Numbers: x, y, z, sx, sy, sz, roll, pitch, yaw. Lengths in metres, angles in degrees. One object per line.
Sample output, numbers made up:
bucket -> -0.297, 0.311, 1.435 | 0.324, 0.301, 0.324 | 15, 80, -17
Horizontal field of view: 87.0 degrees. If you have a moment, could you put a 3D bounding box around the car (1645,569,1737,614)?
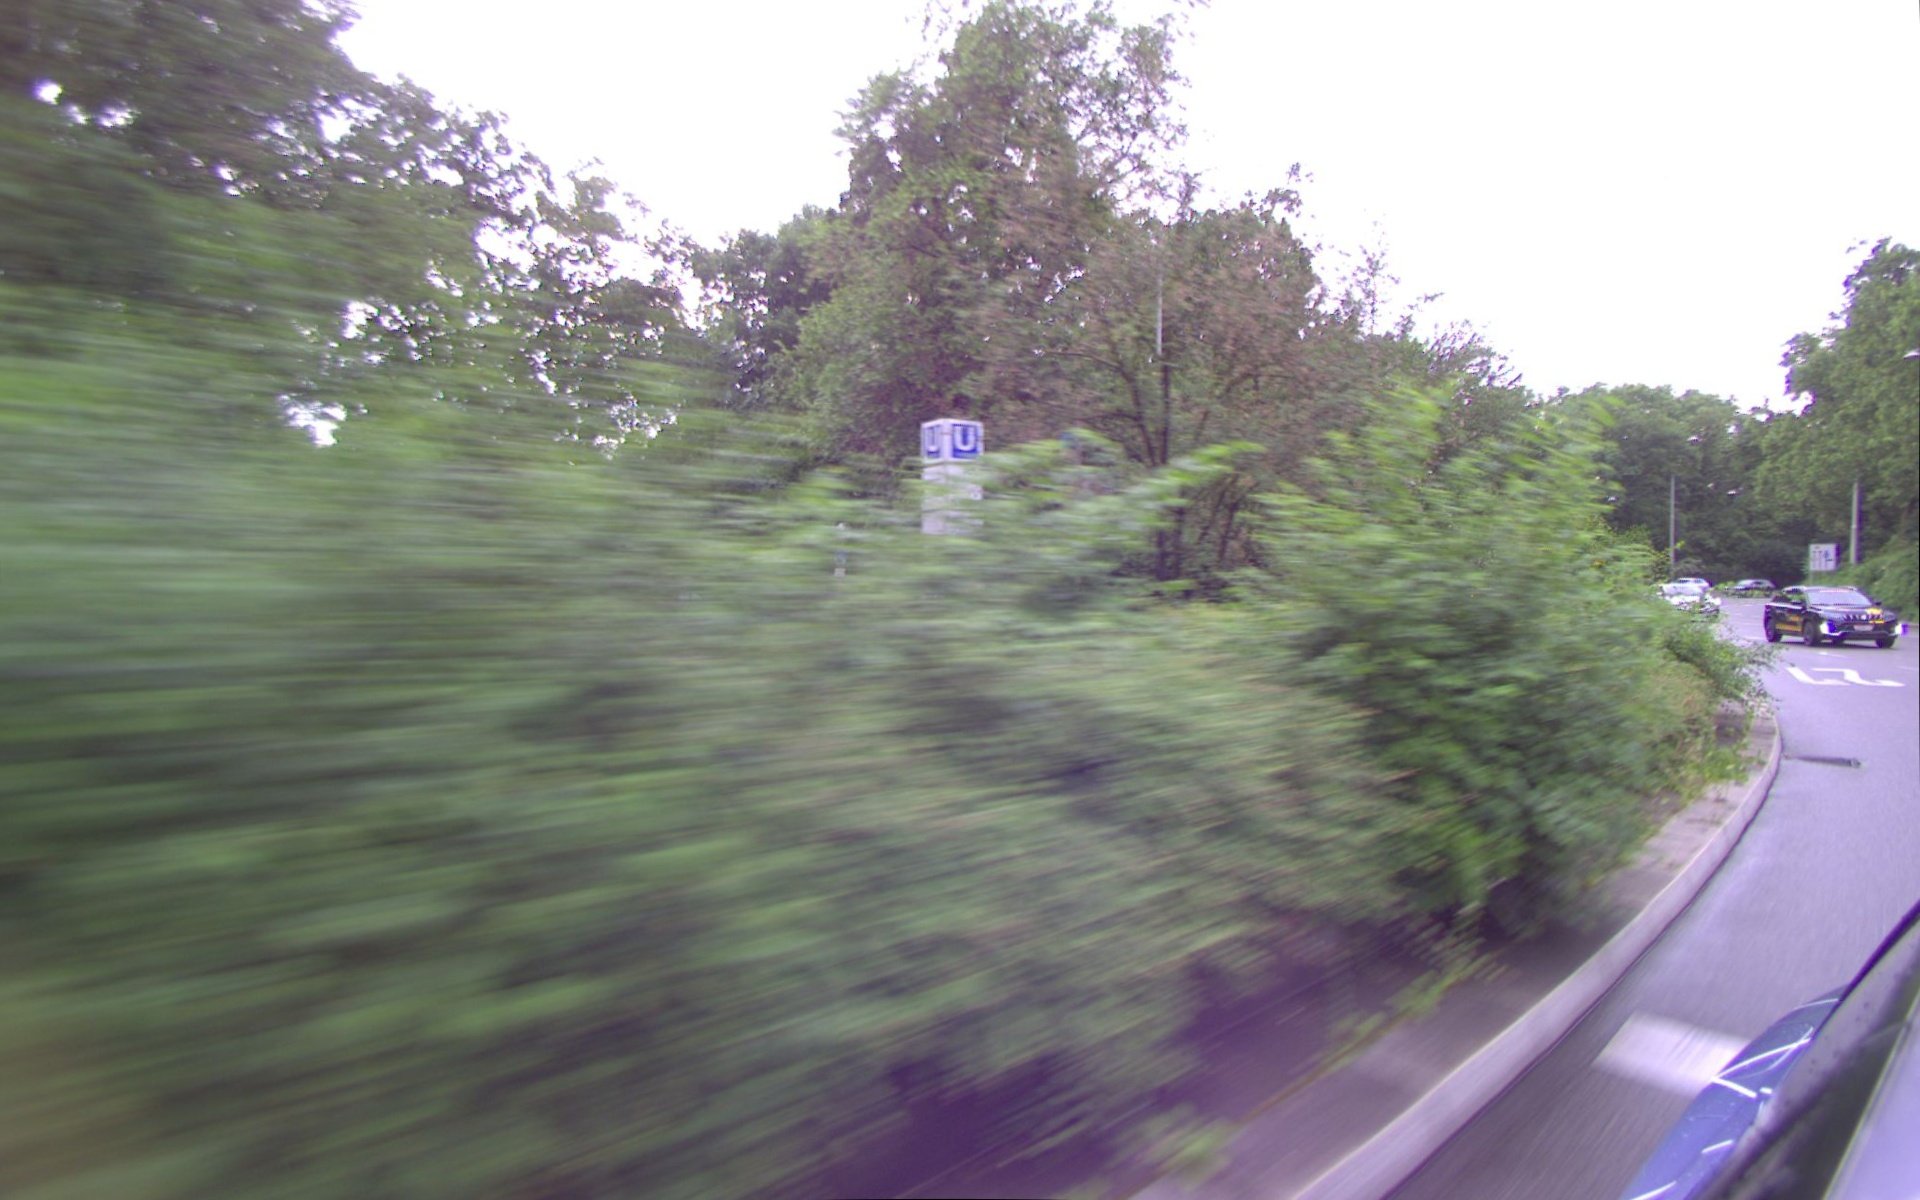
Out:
car -> 31.722, -0.419, 44.072 | 1.975, 1.766, 4.626 | 1, 3, 20

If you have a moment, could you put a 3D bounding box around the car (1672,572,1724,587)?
car -> 69.570, -1.981, 95.394 | 4.161, 1.336, 1.661 | -1, 2, -16

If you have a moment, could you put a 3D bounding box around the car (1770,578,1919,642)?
car -> 23.744, 0.207, 27.251 | 1.909, 1.560, 3.972 | 0, 2, 21

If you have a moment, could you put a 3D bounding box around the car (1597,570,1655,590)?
car -> 55.277, -1.709, 83.977 | 4.413, 1.561, 2.218 | -1, 3, -28
